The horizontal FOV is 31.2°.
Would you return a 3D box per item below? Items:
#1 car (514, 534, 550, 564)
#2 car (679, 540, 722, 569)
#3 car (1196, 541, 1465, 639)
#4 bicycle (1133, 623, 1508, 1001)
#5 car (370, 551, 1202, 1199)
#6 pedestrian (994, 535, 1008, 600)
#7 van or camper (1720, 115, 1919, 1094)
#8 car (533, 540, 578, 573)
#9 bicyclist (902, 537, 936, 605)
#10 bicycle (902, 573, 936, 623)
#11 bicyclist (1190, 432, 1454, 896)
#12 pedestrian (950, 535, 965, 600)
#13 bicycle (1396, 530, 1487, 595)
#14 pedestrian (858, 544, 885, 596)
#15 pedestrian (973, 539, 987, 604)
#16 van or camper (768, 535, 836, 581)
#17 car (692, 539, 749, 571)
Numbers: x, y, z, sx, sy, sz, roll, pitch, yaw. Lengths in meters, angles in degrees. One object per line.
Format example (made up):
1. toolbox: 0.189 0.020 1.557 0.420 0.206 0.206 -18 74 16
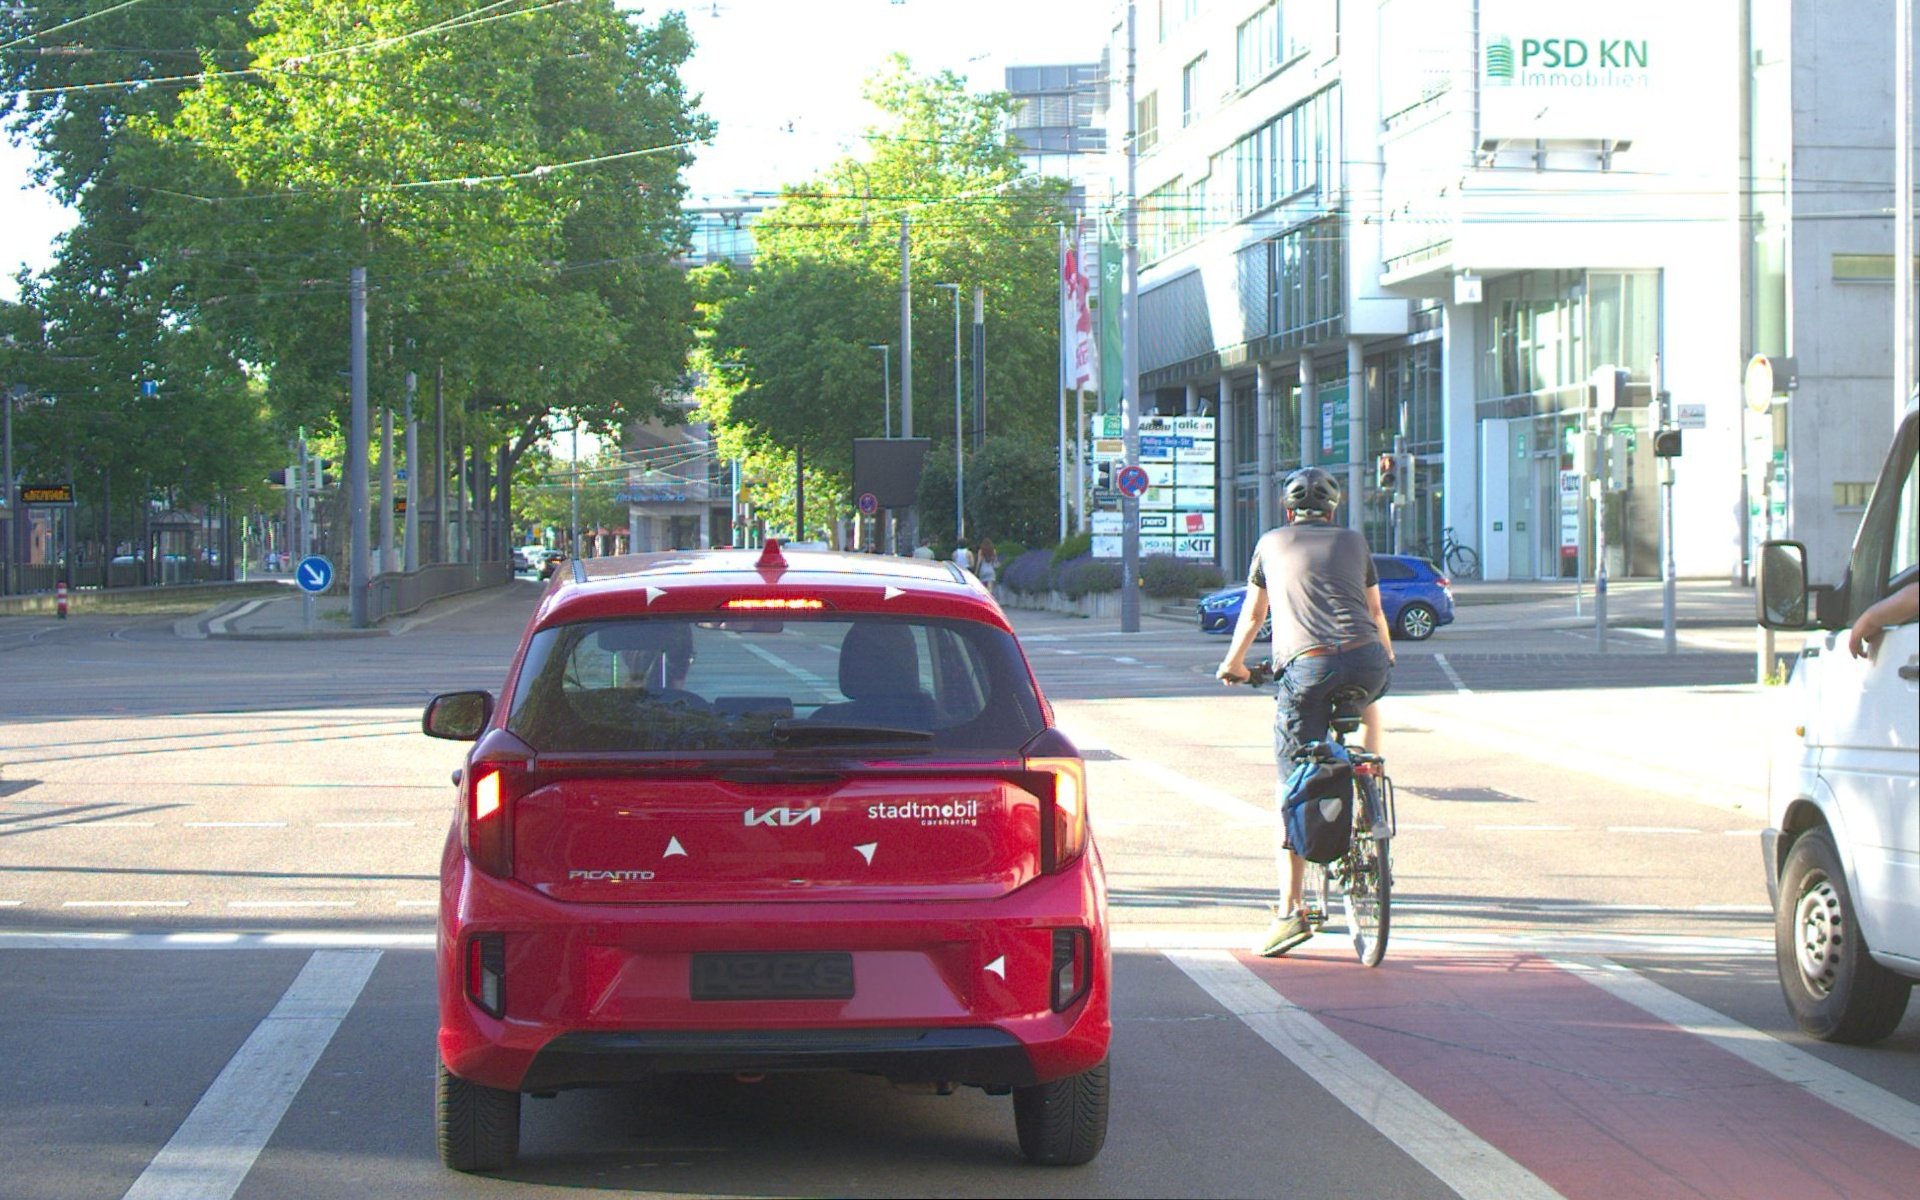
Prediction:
1. car: -29.144 -3.487 234.177 1.993 2.007 4.000 -1 1 0
2. car: -13.793 -2.427 182.784 1.884 1.523 4.433 -1 1 -9
3. car: 6.255 -0.188 58.313 4.259 1.562 1.850 -1 1 -4
4. bicycle: 1.296 0.738 12.883 0.743 1.220 2.157 1 1 -12
5. car: -0.564 0.626 9.503 1.839 1.484 3.717 -1 1 -6
6. pedestrian: 0.982 -0.772 82.605 0.294 1.556 0.314 -1 1 -3
7. van or camper: 3.943 0.065 8.155 2.268 2.724 6.348 2 1 -5
8. car: -20.942 -2.255 177.872 2.057 1.648 3.493 -1 1 -11
9. bicyclist: -0.990 -0.707 83.072 0.785 1.629 0.639 0 1 0
10. bicycle: -0.978 -0.064 82.930 0.792 1.157 2.500 0 1 0
11. bicyclist: 1.331 0.225 12.743 0.743 1.663 0.745 1 1 -11
12. pedestrian: -0.060 -0.780 82.562 0.294 1.556 0.302 -1 1 9
13. bicycle: 10.906 -0.861 77.893 1.934 1.438 0.575 -1 1 -7
14. pedestrian: -2.941 -0.993 114.068 0.742 1.710 0.748 -1 1 -12
15. pedestrian: 0.482 -0.683 82.846 0.294 1.556 0.356 -1 1 -1
16. van or camper: -6.216 -1.662 134.816 2.145 1.744 4.433 -1 1 -9
17. car: -11.756 -2.217 168.724 2.478 1.523 4.433 -1 1 -8
